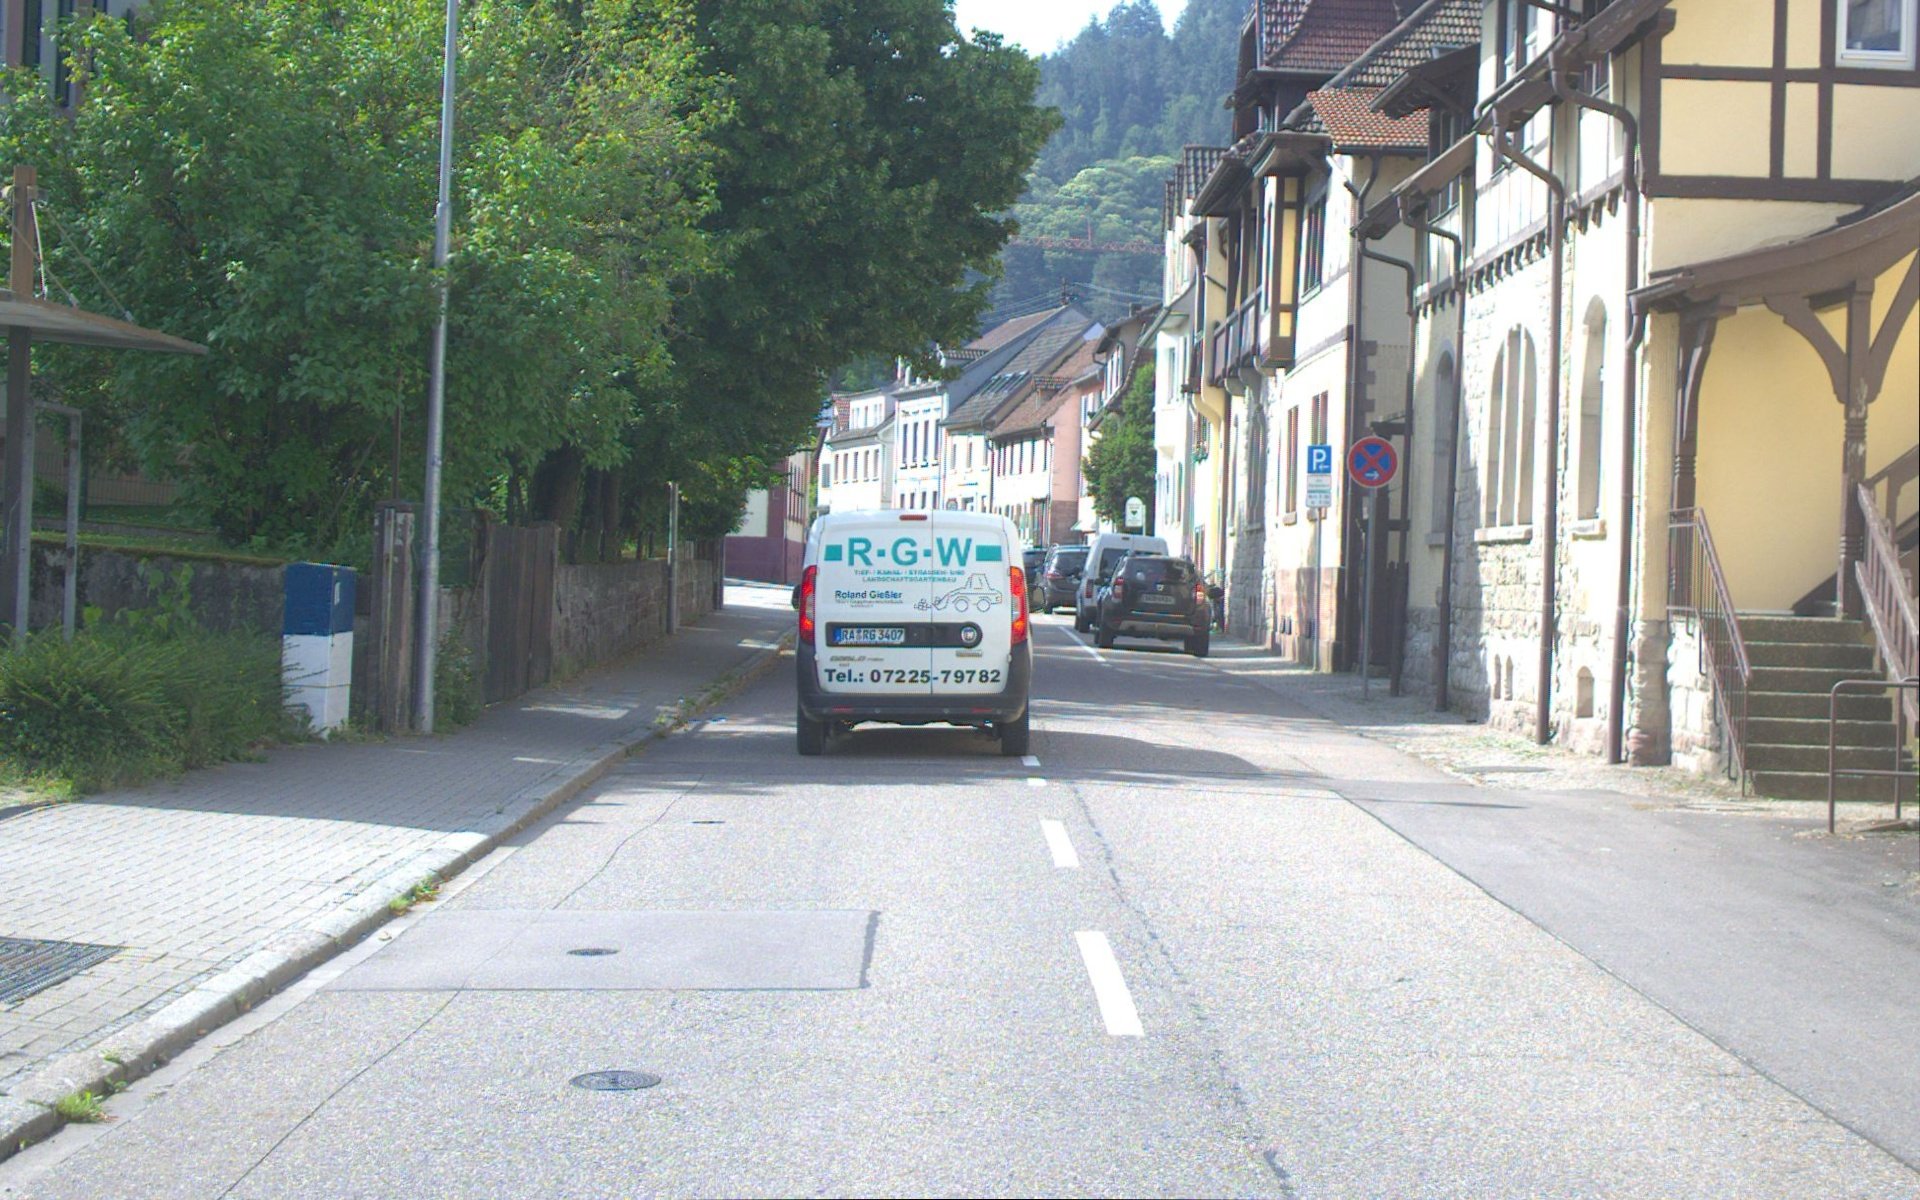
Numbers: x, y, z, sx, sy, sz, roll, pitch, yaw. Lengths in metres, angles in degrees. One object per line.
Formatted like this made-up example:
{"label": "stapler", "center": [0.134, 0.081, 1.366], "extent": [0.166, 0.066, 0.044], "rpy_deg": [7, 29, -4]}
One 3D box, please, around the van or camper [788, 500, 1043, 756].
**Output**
{"label": "van or camper", "center": [-0.368, 0.178, 27.172], "extent": [1.828, 1.838, 4.189], "rpy_deg": [1, 1, -1]}

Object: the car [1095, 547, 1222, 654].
{"label": "car", "center": [3.311, -0.026, 57.970], "extent": [1.810, 1.591, 3.927], "rpy_deg": [4, 1, 0]}

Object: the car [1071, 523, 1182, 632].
{"label": "car", "center": [3.266, -0.465, 68.111], "extent": [1.871, 2.007, 4.000], "rpy_deg": [3, 1, -1]}

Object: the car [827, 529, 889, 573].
{"label": "car", "center": [-4.674, -2.239, 156.875], "extent": [1.993, 1.776, 4.002], "rpy_deg": [4, 1, -13]}

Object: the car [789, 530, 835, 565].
{"label": "car", "center": [-7.917, -2.831, 183.870], "extent": [1.771, 1.793, 4.001], "rpy_deg": [2, 1, -11]}

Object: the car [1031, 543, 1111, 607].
{"label": "car", "center": [2.706, -0.631, 84.460], "extent": [1.669, 1.503, 4.000], "rpy_deg": [1, 1, -2]}
